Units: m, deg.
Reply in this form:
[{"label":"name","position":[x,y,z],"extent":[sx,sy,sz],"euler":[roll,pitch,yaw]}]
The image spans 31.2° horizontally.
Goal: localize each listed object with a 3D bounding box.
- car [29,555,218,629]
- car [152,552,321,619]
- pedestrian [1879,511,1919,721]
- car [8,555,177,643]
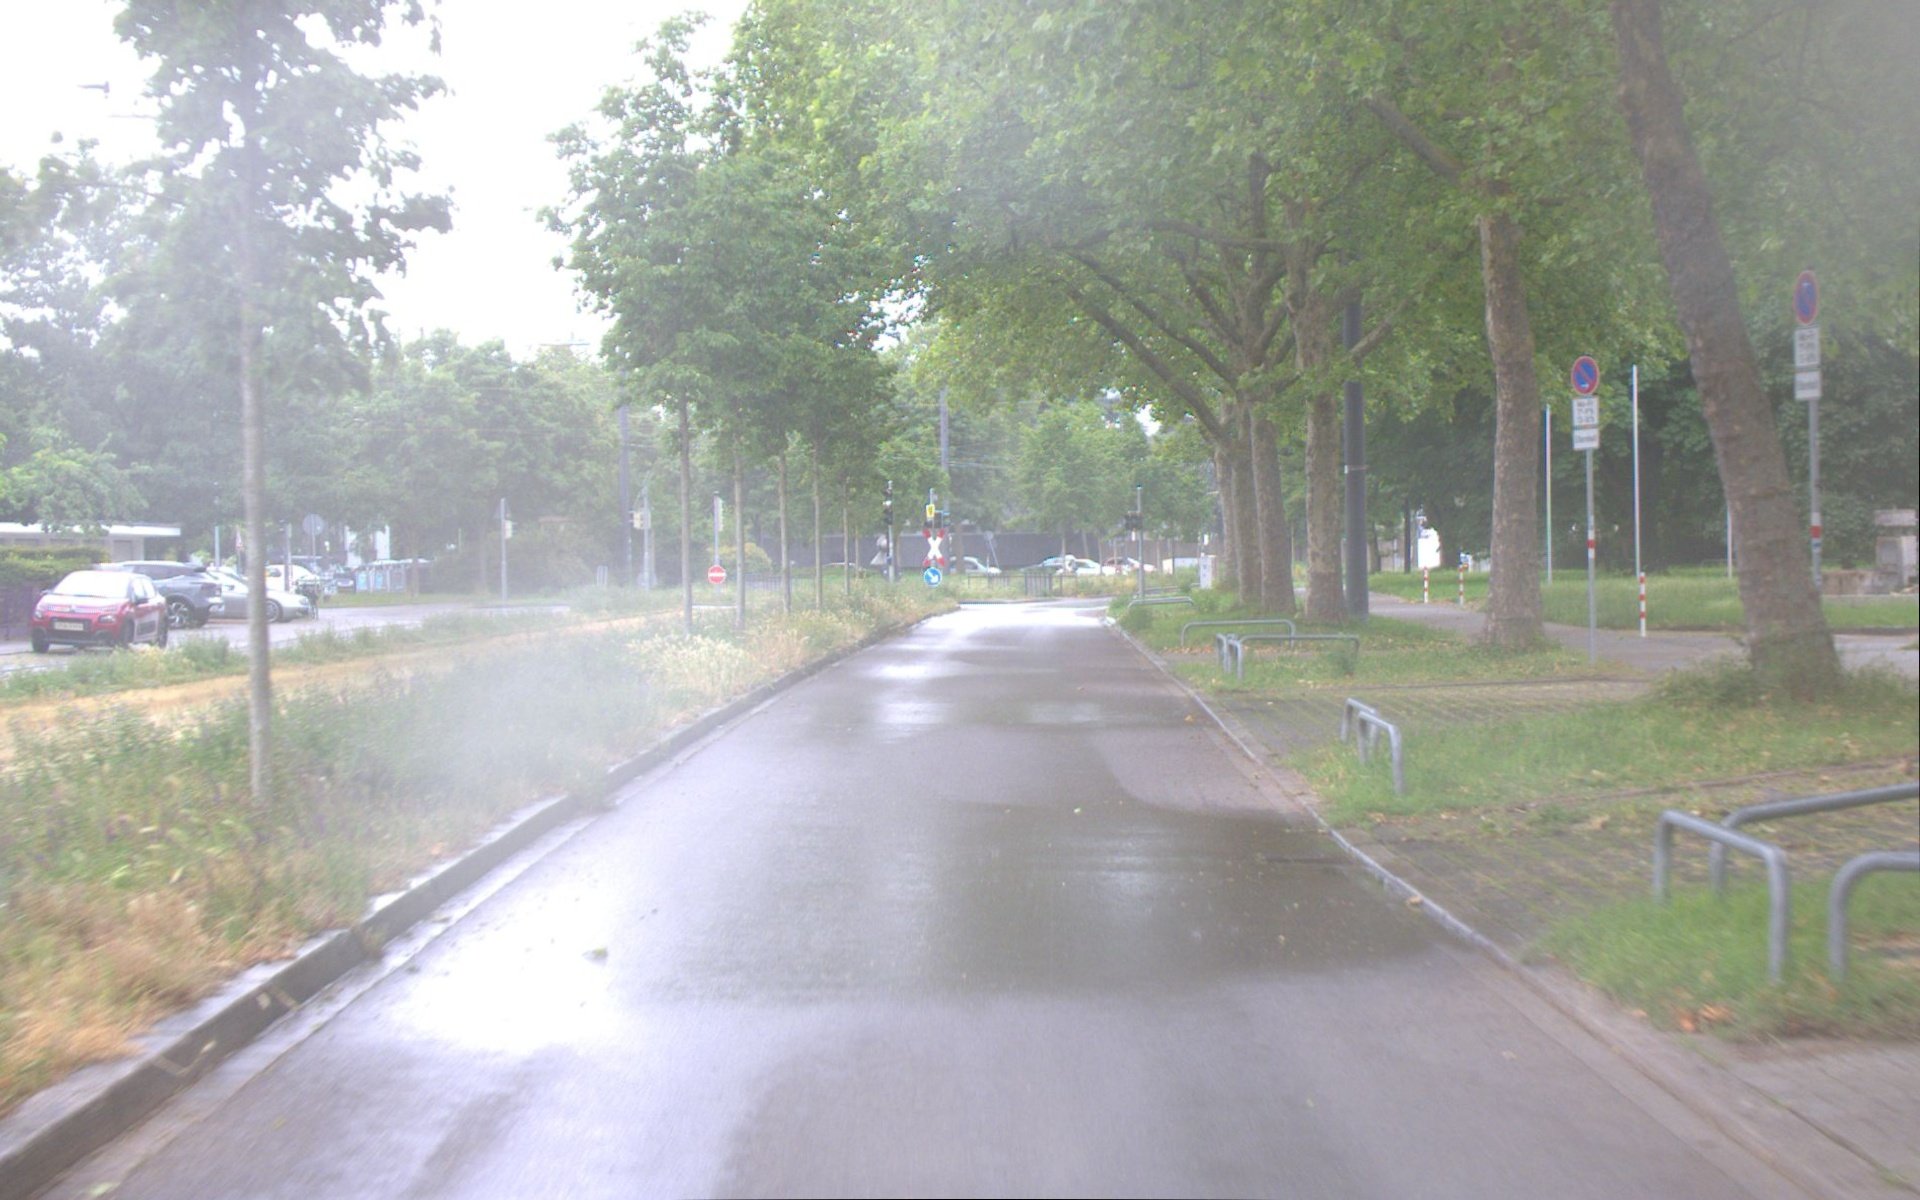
[{"label":"car","position":[-19.848,-0.202,81.663],"extent":[3.987,1.611,2.000],"euler":[-2,1,-1]},{"label":"car","position":[-18.884,-0.391,89.875],"extent":[3.987,1.611,2.000],"euler":[-2,1,-1]},{"label":"pedestrian","position":[7.395,0.100,25.510],"extent":[0.833,1.533,0.860],"euler":[-2,1,-4]},{"label":"car","position":[-15.827,-0.042,62.897],"extent":[1.993,1.483,4.206],"euler":[1,1,0]}]
